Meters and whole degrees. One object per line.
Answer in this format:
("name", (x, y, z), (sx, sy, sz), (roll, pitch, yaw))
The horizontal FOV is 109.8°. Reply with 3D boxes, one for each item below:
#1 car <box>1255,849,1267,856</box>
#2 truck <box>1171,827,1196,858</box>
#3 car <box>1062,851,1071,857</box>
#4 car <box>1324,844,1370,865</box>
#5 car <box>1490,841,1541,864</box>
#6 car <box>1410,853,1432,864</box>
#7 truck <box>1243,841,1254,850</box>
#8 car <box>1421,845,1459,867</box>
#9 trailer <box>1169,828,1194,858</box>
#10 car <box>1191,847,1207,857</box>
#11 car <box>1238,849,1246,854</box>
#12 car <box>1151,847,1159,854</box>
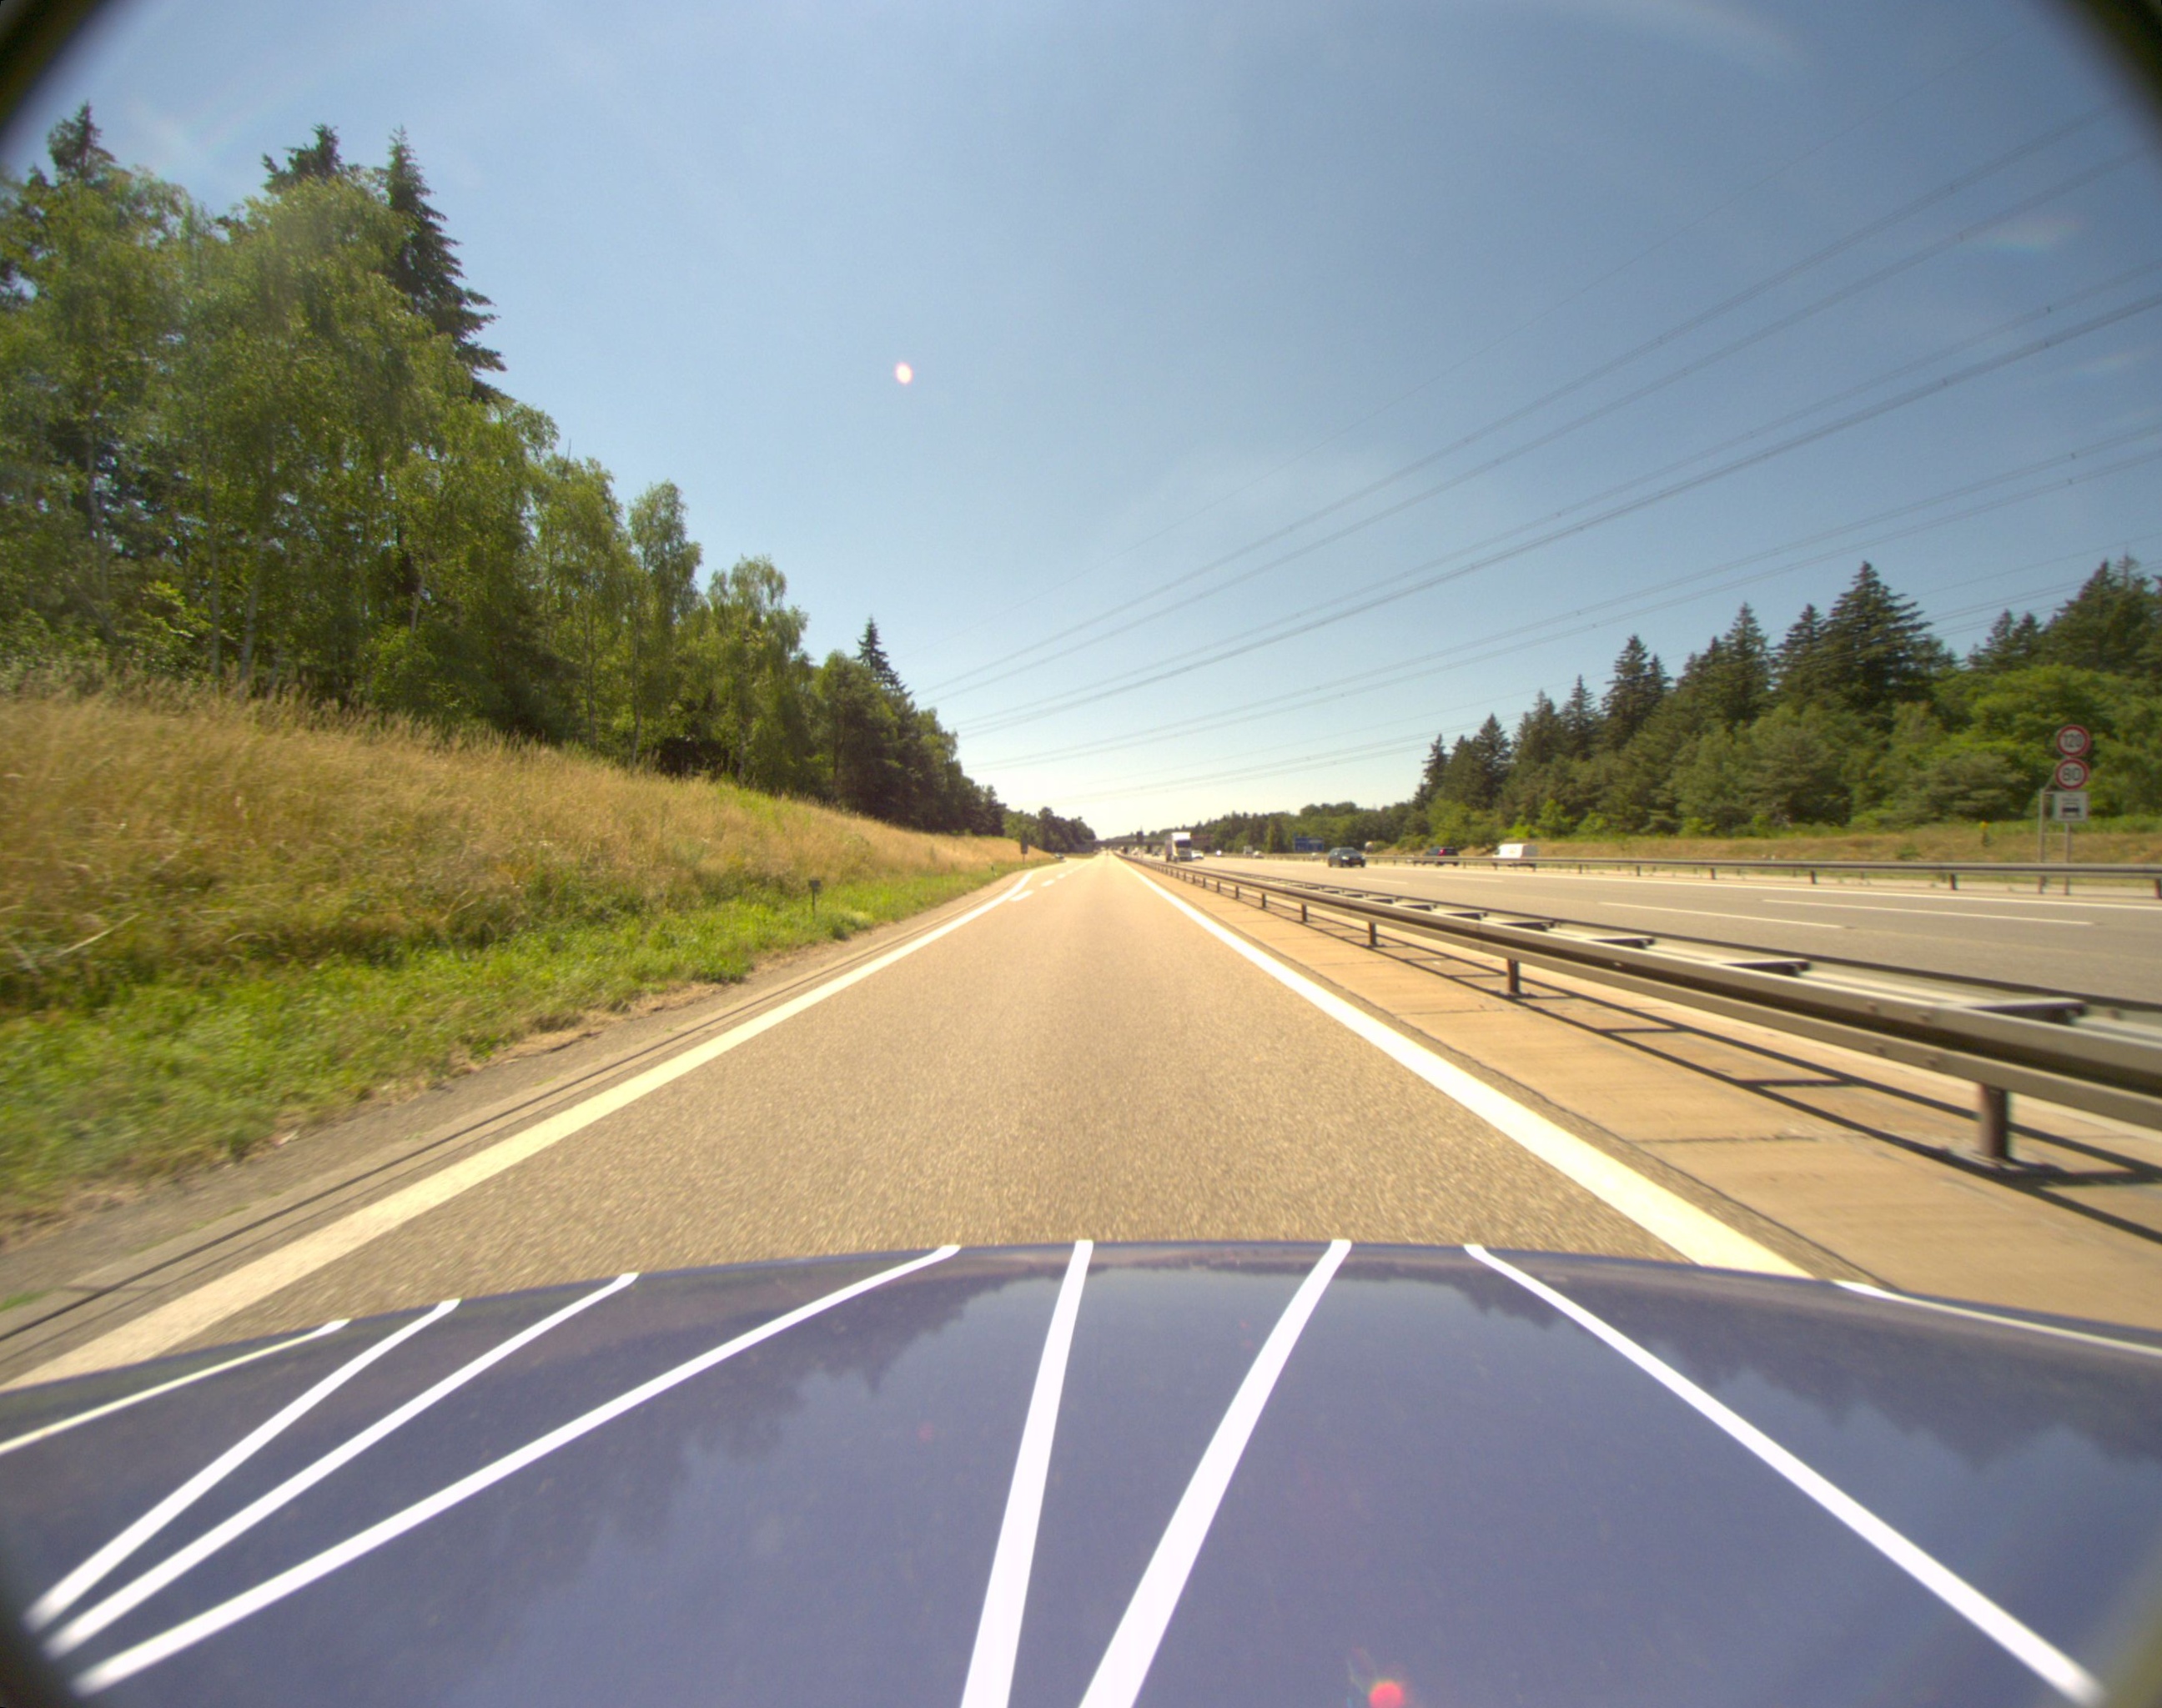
("car", (37.960, -0.375, 160.608), (1.707, 1.466, 4.061), (-1, 0, 2))
("truck", (14.080, -1.542, 104.822), (2.979, 4.118, 5.350), (-1, 0, 4))
("car", (-3.650, -0.085, 191.874), (1.898, 1.417, 4.262), (-2, 1, 4))
("car", (19.768, 0.023, 56.758), (1.836, 1.423, 5.000), (-1, 0, 2))
("car", (49.733, -0.218, 87.123), (2.310, 2.500, 6.457), (-1, 0, 2))
("car", (51.142, 0.646, 114.314), (1.707, 1.596, 4.061), (-1, 0, 2))
("truck", (54.918, -2.767, 249.585), (2.532, 3.007, 5.081), (-1, 0, 2))
("car", (31.472, 0.160, 66.681), (1.742, 1.859, 4.001), (-1, 0, 5))
("trailer", (14.490, -1.559, 110.326), (2.981, 4.118, 11.698), (-1, 0, 4))
("car", (19.513, -0.361, 125.648), (1.968, 1.495, 5.404), (-1, 1, 2))
("car", (50.747, -0.805, 239.221), (1.707, 1.596, 4.061), (-1, 0, 2))
("car", (22.414, -1.075, 229.966), (2.315, 2.021, 5.404), (-1, 1, 3))
